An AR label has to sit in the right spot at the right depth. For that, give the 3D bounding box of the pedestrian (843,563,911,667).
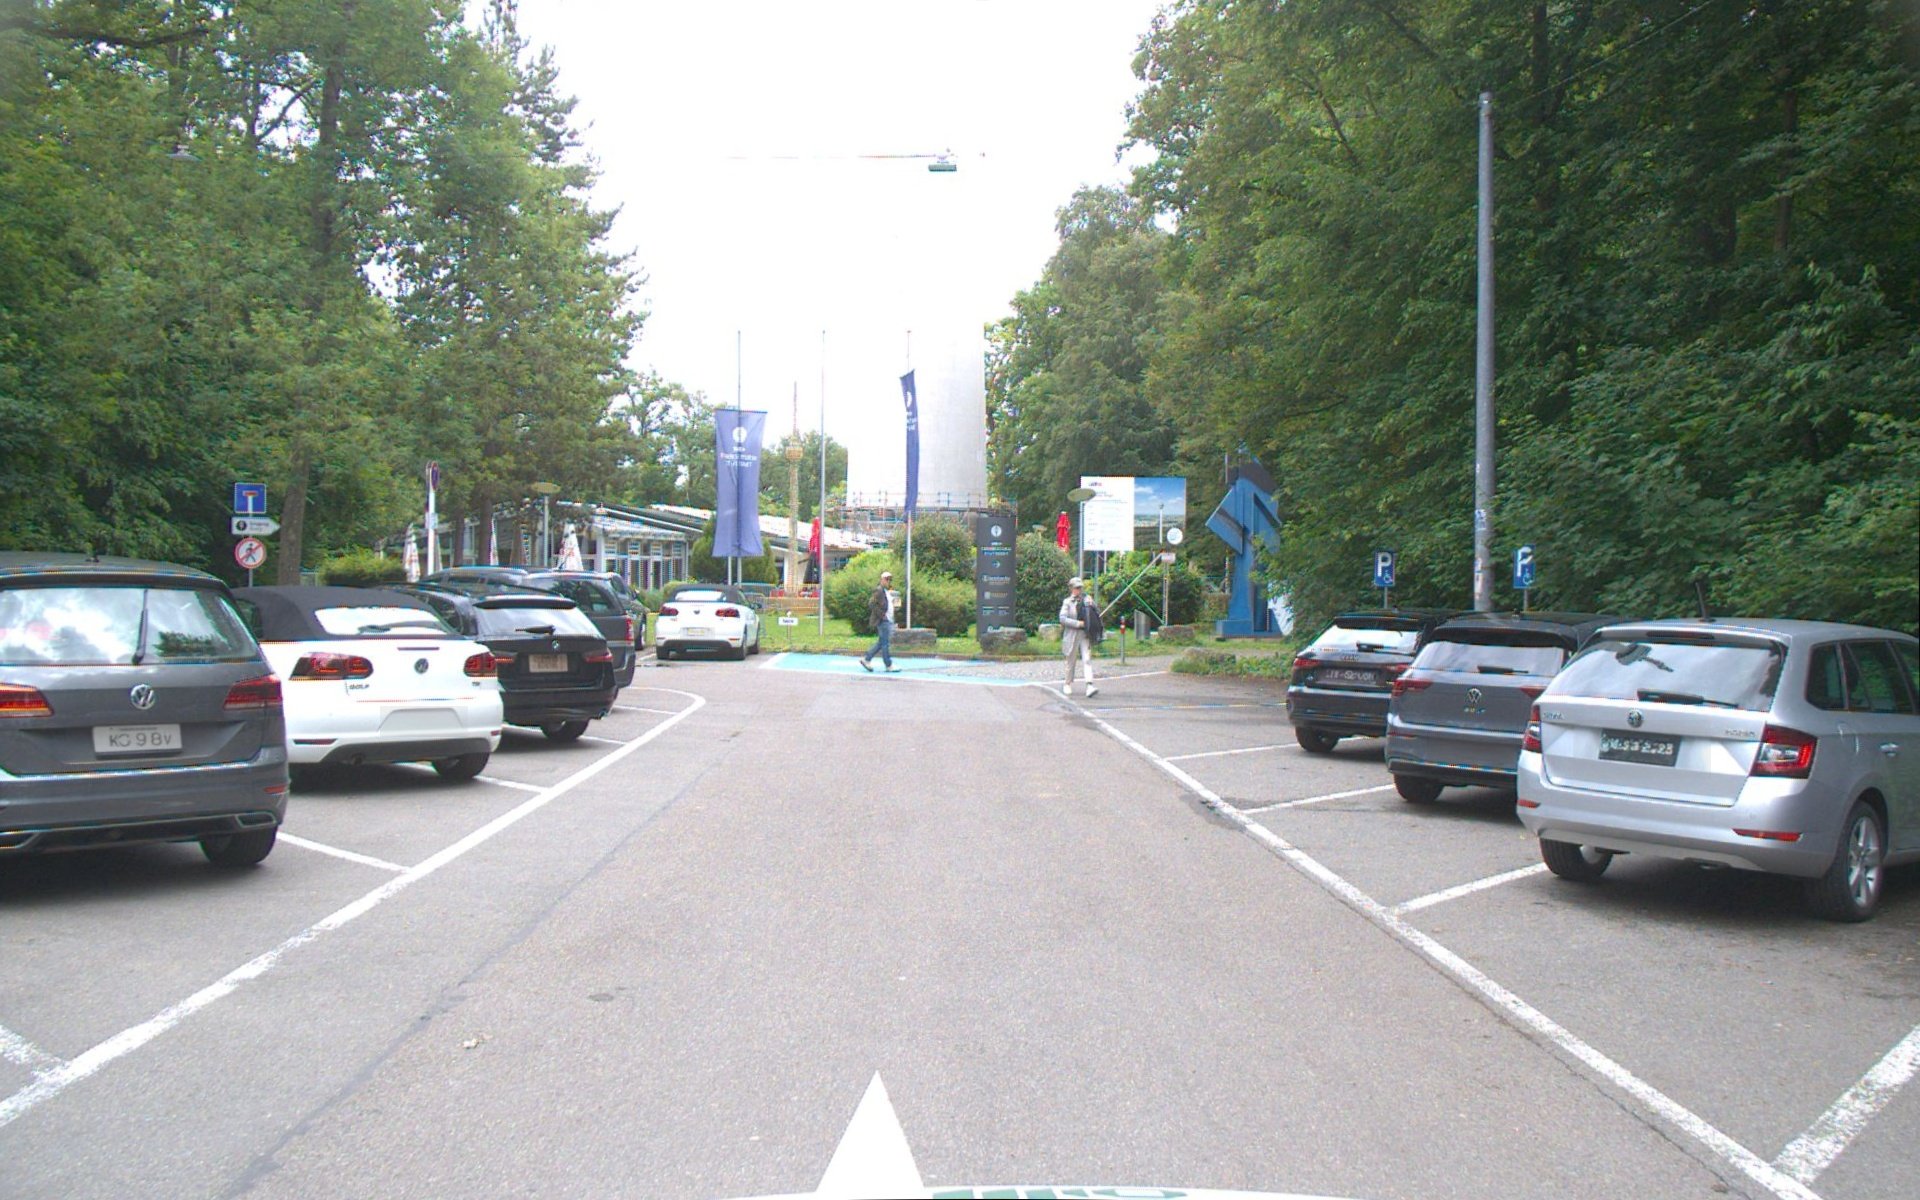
[{"bbox_3d":[-1.442,0.250,28.783,0.878,1.755,0.762,1,0,33],"label":"pedestrian"}]

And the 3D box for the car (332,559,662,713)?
[{"bbox_3d":[-5.680,0.362,20.001,4.310,1.637,1.818,2,0,42],"label":"car"}]

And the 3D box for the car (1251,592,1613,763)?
[{"bbox_3d":[4.951,0.721,17.017,1.867,1.488,4.177,2,1,43],"label":"car"}]

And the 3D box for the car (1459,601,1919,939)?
[{"bbox_3d":[4.737,0.780,9.557,3.967,1.492,1.807,0,1,-43],"label":"car"}]

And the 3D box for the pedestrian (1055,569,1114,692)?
[{"bbox_3d":[1.816,0.436,24.196,0.746,1.755,0.897,1,0,-1],"label":"pedestrian"}]

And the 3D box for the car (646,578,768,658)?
[{"bbox_3d":[-4.975,0.311,33.007,1.854,1.453,4.000,1,1,-1],"label":"car"}]

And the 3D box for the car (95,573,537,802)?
[{"bbox_3d":[-5.086,0.562,12.834,3.780,1.468,1.761,2,1,44],"label":"car"}]

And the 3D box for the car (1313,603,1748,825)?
[{"bbox_3d":[4.684,0.785,13.262,1.877,1.447,3.975,2,1,42],"label":"car"}]

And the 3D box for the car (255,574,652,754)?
[{"bbox_3d":[-4.999,0.525,16.032,4.202,1.468,1.750,2,0,42],"label":"car"}]

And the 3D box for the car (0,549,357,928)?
[{"bbox_3d":[-5.049,0.541,8.884,3.908,1.614,1.836,2,1,43],"label":"car"}]

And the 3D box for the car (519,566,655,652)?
[{"bbox_3d":[-7.517,0.154,33.679,1.854,1.612,4.000,1,1,-1],"label":"car"}]
